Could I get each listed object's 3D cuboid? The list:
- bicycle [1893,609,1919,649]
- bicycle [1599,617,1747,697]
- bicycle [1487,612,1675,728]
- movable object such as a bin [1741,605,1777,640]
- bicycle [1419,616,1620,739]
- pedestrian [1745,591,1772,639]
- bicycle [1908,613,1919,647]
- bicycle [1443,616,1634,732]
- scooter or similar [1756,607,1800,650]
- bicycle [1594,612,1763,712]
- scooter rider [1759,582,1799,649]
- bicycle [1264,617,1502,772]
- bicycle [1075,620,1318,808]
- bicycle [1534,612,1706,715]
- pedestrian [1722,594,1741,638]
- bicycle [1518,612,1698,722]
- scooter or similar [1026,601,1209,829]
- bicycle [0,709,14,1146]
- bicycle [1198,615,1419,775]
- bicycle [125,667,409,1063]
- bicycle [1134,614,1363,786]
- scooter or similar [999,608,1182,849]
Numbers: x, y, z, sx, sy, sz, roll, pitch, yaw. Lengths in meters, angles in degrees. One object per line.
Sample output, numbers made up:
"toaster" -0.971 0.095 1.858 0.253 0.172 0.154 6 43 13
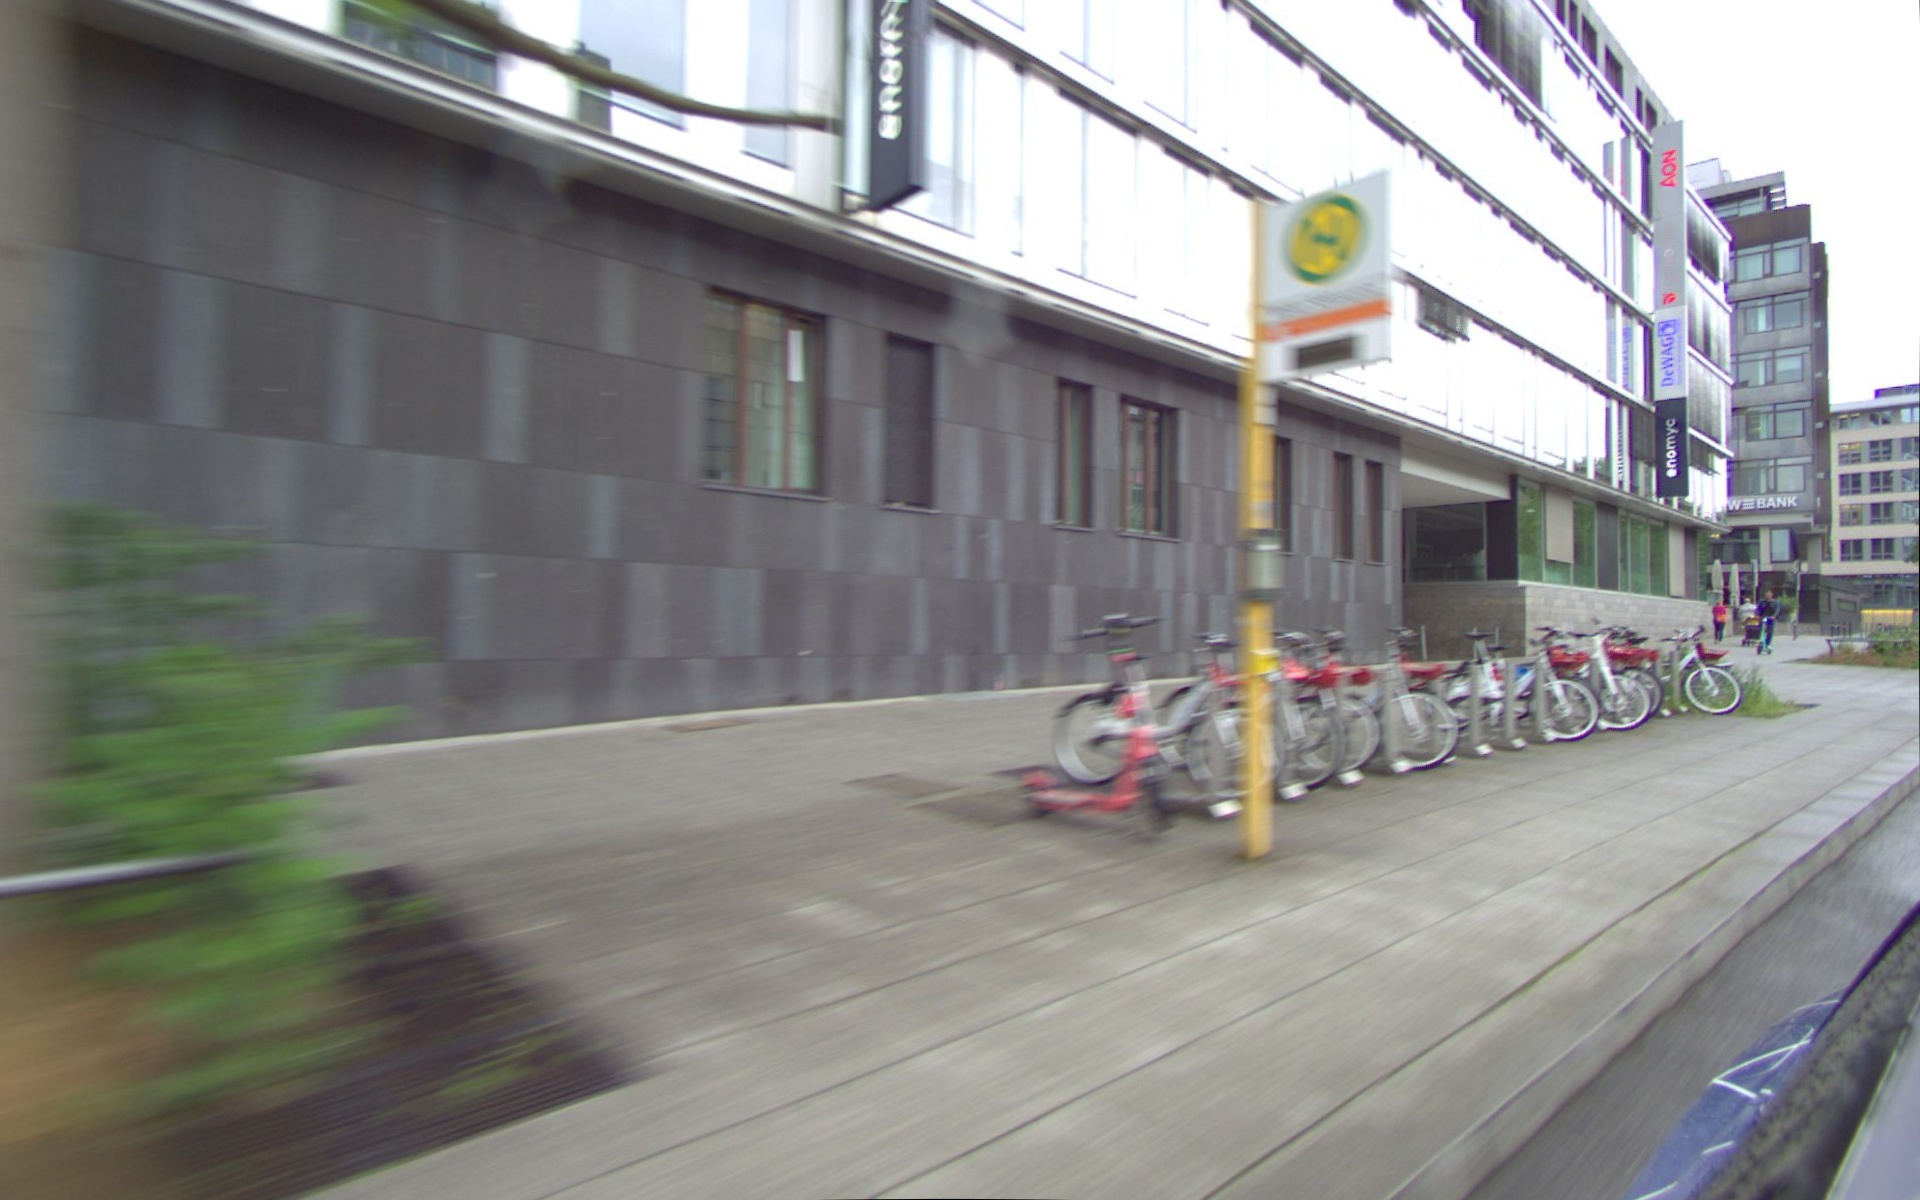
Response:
"bicycle" 30.614 0.923 31.892 1.791 1.222 0.659 1 0 43
"bicycle" 10.574 0.817 15.038 1.729 1.083 0.678 0 -1 44
"bicycle" 7.026 0.750 11.511 1.729 1.198 0.678 0 -1 44
"movable object such as a bin" 30.647 0.860 38.804 1.758 1.281 0.803 0 0 -43
"bicycle" 5.790 0.753 10.540 1.729 1.155 0.678 0 -1 44
"pedestrian" 31.420 0.565 39.809 0.734 1.853 0.722 1 0 -43
"bicycle" 32.158 0.999 32.909 0.658 1.124 1.875 1 0 -40
"bicycle" 6.336 0.764 11.145 1.729 1.155 0.678 0 -1 44
"scooter or similar" 25.635 0.887 31.713 1.310 1.322 0.780 1 -1 -38
"bicycle" 9.355 0.764 13.212 1.729 1.198 0.678 0 -1 44
"scooter rider" 25.698 0.486 31.762 0.907 2.047 0.780 1 -1 -37
"bicycle" 3.505 0.725 8.480 1.705 1.154 0.678 -1 0 44
"bicycle" 1.630 0.727 7.117 1.534 1.154 0.652 -1 0 44
"bicycle" 8.296 0.757 12.769 1.729 1.198 0.678 0 -1 44
"pedestrian" 30.822 0.626 40.434 0.569 1.720 0.484 1 0 -43
"bicycle" 7.729 0.758 12.121 1.729 1.198 0.678 0 -1 44
"scooter or similar" 0.936 0.651 6.172 1.105 1.274 0.298 -1 0 43
"bicycle" -3.297 0.903 3.085 0.547 1.082 1.794 0 -2 -45
"bicycle" 2.785 0.706 8.183 1.534 1.154 0.678 -1 0 44
"bicycle" -2.630 0.815 3.747 0.547 1.082 1.794 0 -2 -45
"bicycle" 2.165 0.697 7.711 1.534 1.154 0.678 -1 0 44
"scooter or similar" 0.733 0.690 5.861 1.060 1.274 0.298 -1 0 43
